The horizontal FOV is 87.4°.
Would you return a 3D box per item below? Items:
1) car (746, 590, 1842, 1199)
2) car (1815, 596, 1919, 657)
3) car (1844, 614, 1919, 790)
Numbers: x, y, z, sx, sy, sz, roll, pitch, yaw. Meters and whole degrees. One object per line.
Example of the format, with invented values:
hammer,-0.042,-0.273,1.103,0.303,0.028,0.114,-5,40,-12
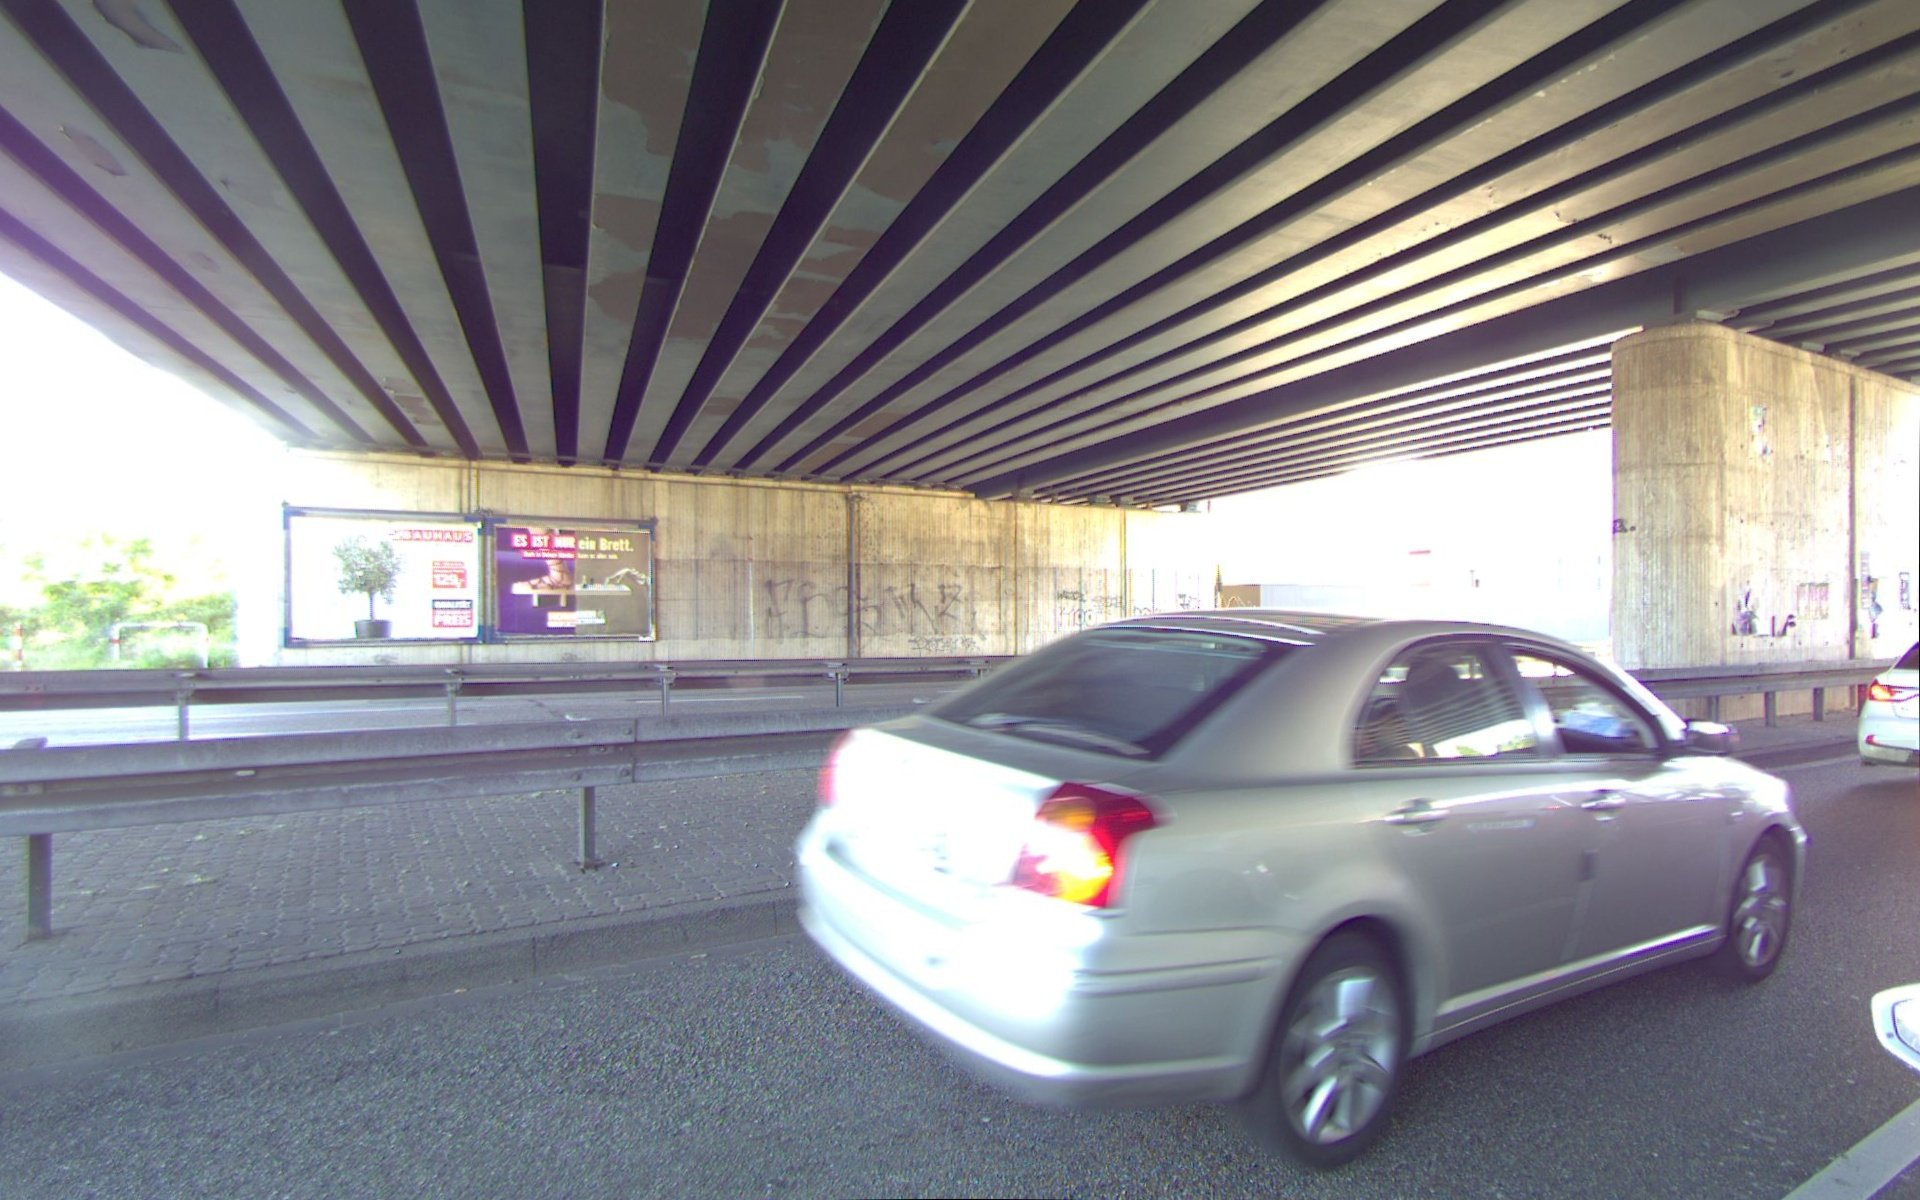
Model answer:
car,1.545,0.750,3.921,4.349,1.474,1.687,1,0,-32
car,27.437,0.782,28.571,4.273,1.629,2.001,2,0,13
car,9.634,0.873,8.889,3.770,1.429,1.683,1,0,-32
